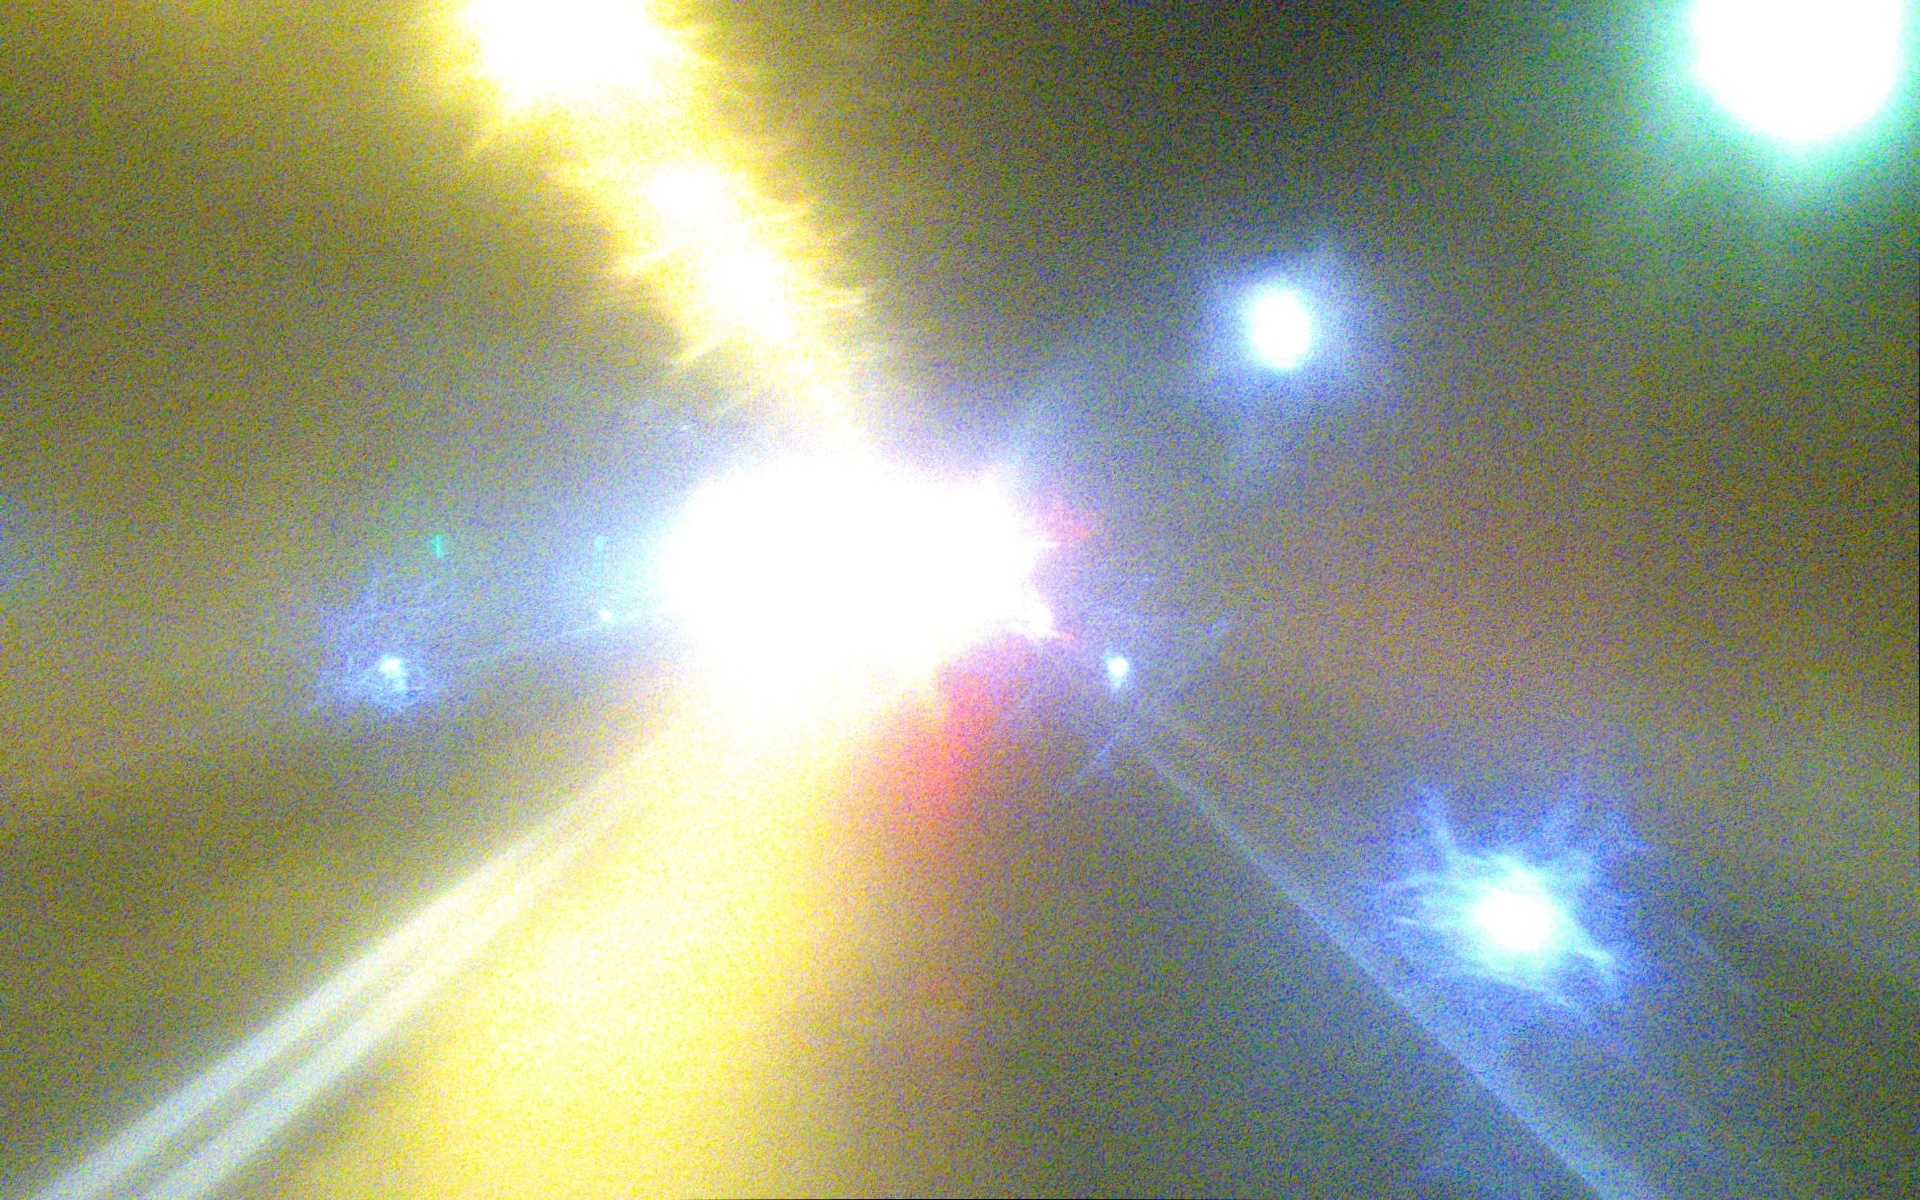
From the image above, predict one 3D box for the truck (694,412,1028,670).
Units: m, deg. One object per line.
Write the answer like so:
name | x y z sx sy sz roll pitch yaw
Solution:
truck | -1.098 -0.696 41.522 3.535 2.684 8.956 2 1 0
